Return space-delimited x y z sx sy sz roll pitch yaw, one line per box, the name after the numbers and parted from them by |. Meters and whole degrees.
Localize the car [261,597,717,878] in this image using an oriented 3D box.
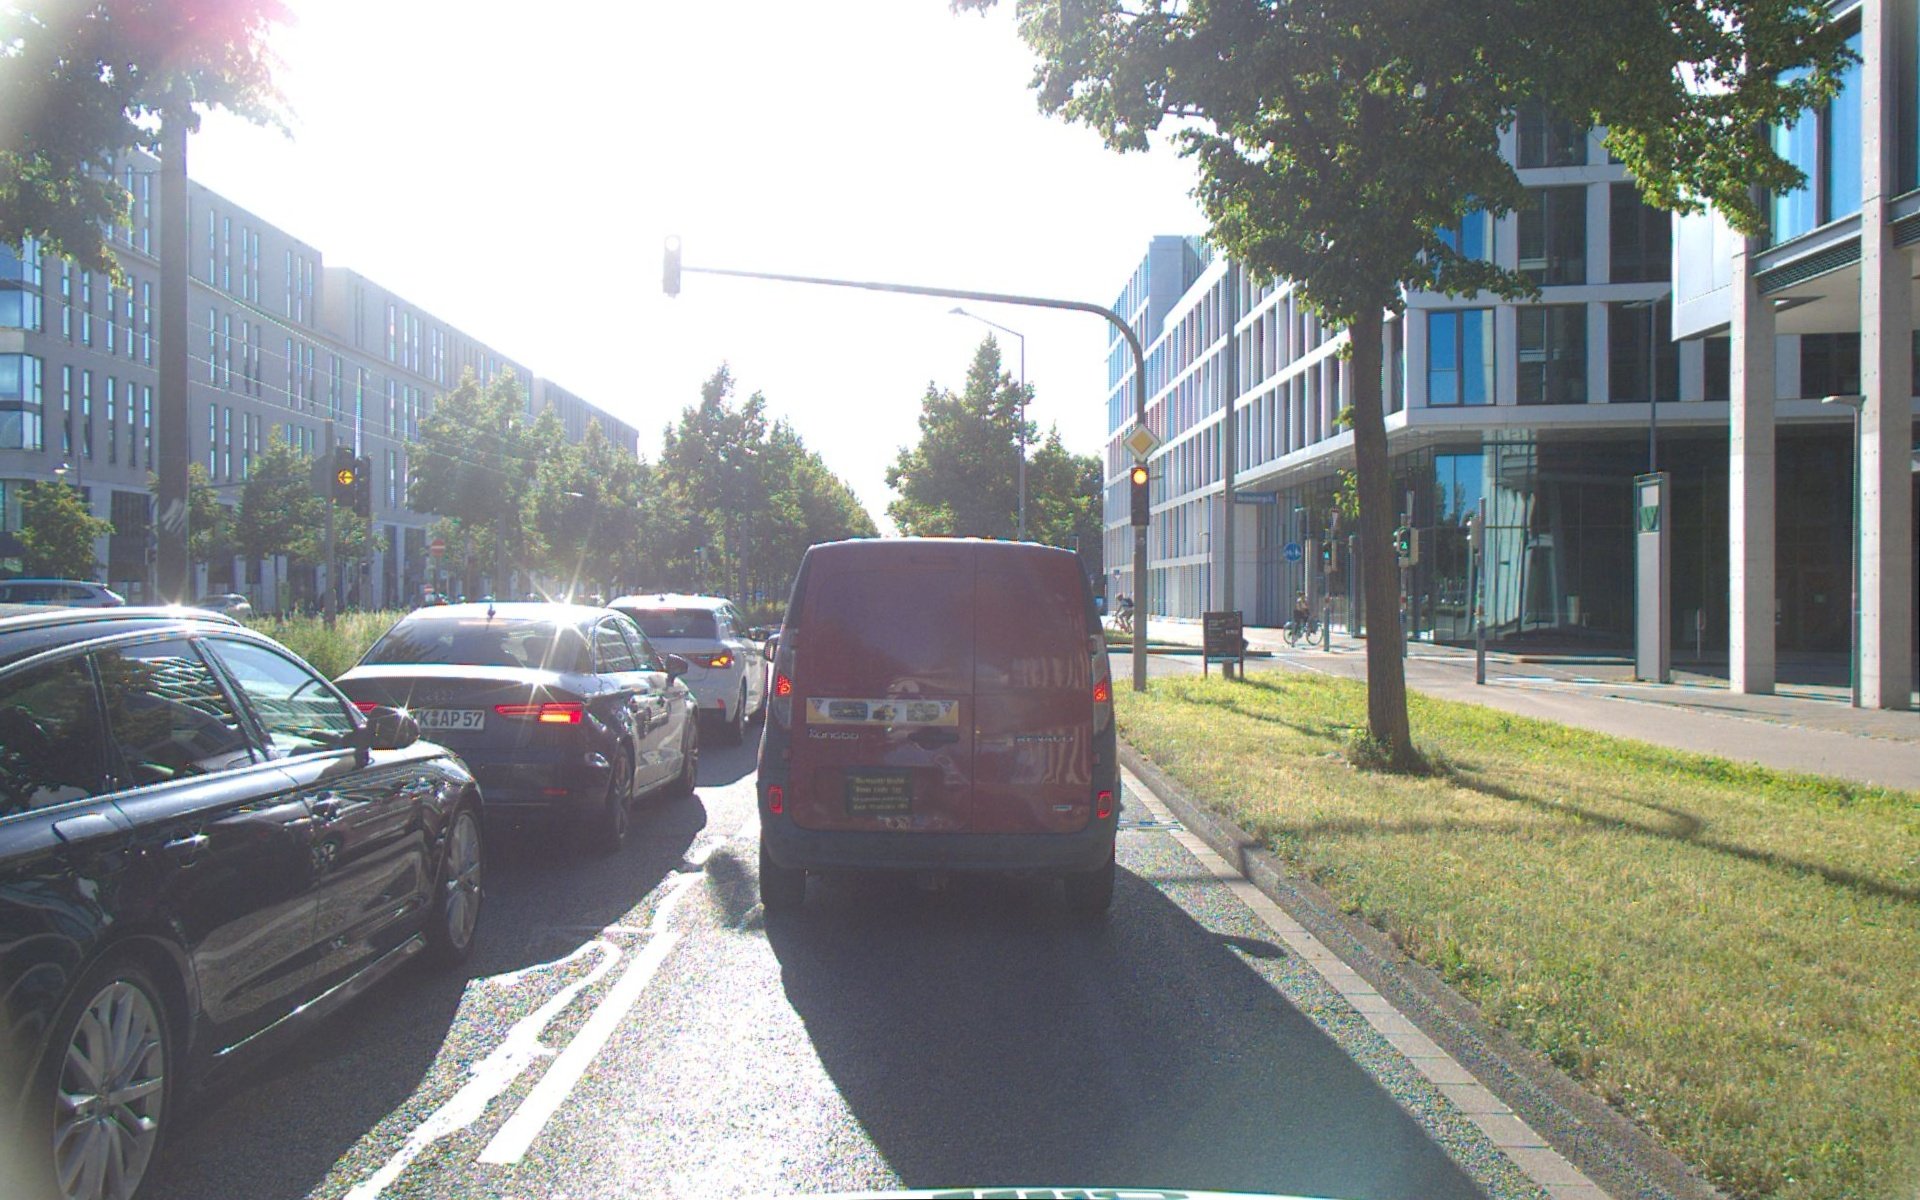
-2.791 0.721 10.862 1.804 1.451 4.338 0 0 -1 | car

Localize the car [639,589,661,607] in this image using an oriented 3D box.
-37.212 -0.242 198.655 1.953 2.049 3.999 0 0 -1 | car

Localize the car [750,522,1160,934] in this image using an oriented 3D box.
-0.051 0.557 9.312 1.804 1.812 3.999 0 0 -1 | car

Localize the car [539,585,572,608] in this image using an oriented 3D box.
-36.364 -0.337 148.769 1.953 2.049 3.999 0 0 -1 | car

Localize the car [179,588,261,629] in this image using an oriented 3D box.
-34.745 0.372 77.767 1.953 1.845 4.369 0 0 -1 | car

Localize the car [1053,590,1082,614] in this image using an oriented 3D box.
8.327 0.158 128.139 1.953 1.813 3.999 0 0 -1 | car

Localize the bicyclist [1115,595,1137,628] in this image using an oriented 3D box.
6.493 0.447 64.795 0.666 1.297 0.821 0 0 20 | bicyclist

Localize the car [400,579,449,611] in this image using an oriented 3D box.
-35.283 -0.311 109.105 1.953 2.049 3.999 0 0 -1 | car

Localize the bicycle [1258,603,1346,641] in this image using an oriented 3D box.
11.268 0.708 54.603 0.811 1.211 2.903 0 0 -44 | bicycle

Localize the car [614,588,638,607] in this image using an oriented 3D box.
-36.716 -0.265 181.849 1.953 2.049 3.999 0 0 -1 | car

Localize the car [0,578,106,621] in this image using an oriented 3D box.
-33.198 -0.032 60.647 1.729 1.546 3.999 0 0 -1 | car

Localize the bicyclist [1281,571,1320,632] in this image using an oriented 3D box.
11.254 0.043 54.619 0.812 1.981 0.985 0 0 -44 | bicyclist

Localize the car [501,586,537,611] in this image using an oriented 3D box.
-36.244 -0.142 135.941 1.953 2.049 3.999 0 0 -1 | car

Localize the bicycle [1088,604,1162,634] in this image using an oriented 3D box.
6.461 0.741 64.843 2.776 1.134 0.821 0 0 15 | bicycle

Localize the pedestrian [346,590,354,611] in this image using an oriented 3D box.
-42.050 0.036 114.030 0.454 1.463 0.387 0 0 -14 | pedestrian

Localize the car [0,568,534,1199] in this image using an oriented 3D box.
-2.777 0.684 5.007 1.836 1.510 4.965 0 0 -2 | car

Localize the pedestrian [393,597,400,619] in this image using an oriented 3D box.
-44.631 0.647 130.997 0.458 1.775 0.479 0 0 -1 | pedestrian

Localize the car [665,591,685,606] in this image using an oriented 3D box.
-37.351 -0.201 216.671 1.953 2.049 3.999 0 0 -1 | car

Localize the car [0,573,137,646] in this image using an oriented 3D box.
-19.770 0.189 35.026 4.156 1.518 1.505 0 0 -30 | car

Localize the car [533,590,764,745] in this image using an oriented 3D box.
-3.169 0.626 17.566 1.767 1.451 3.900 0 0 -1 | car

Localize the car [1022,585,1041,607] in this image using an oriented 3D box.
8.583 -0.500 198.457 1.953 2.540 4.986 0 0 -1 | car

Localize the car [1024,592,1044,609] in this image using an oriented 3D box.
8.069 0.081 179.930 1.953 1.813 3.999 0 0 -1 | car

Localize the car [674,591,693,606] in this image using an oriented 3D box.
-37.163 -0.178 222.297 1.953 2.049 3.999 0 0 -1 | car

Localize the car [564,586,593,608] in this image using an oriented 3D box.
-36.382 -0.314 157.869 1.953 2.049 3.999 0 0 -1 | car

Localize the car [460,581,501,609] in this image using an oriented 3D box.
-35.833 -0.380 123.635 1.953 2.049 3.999 0 0 -1 | car
